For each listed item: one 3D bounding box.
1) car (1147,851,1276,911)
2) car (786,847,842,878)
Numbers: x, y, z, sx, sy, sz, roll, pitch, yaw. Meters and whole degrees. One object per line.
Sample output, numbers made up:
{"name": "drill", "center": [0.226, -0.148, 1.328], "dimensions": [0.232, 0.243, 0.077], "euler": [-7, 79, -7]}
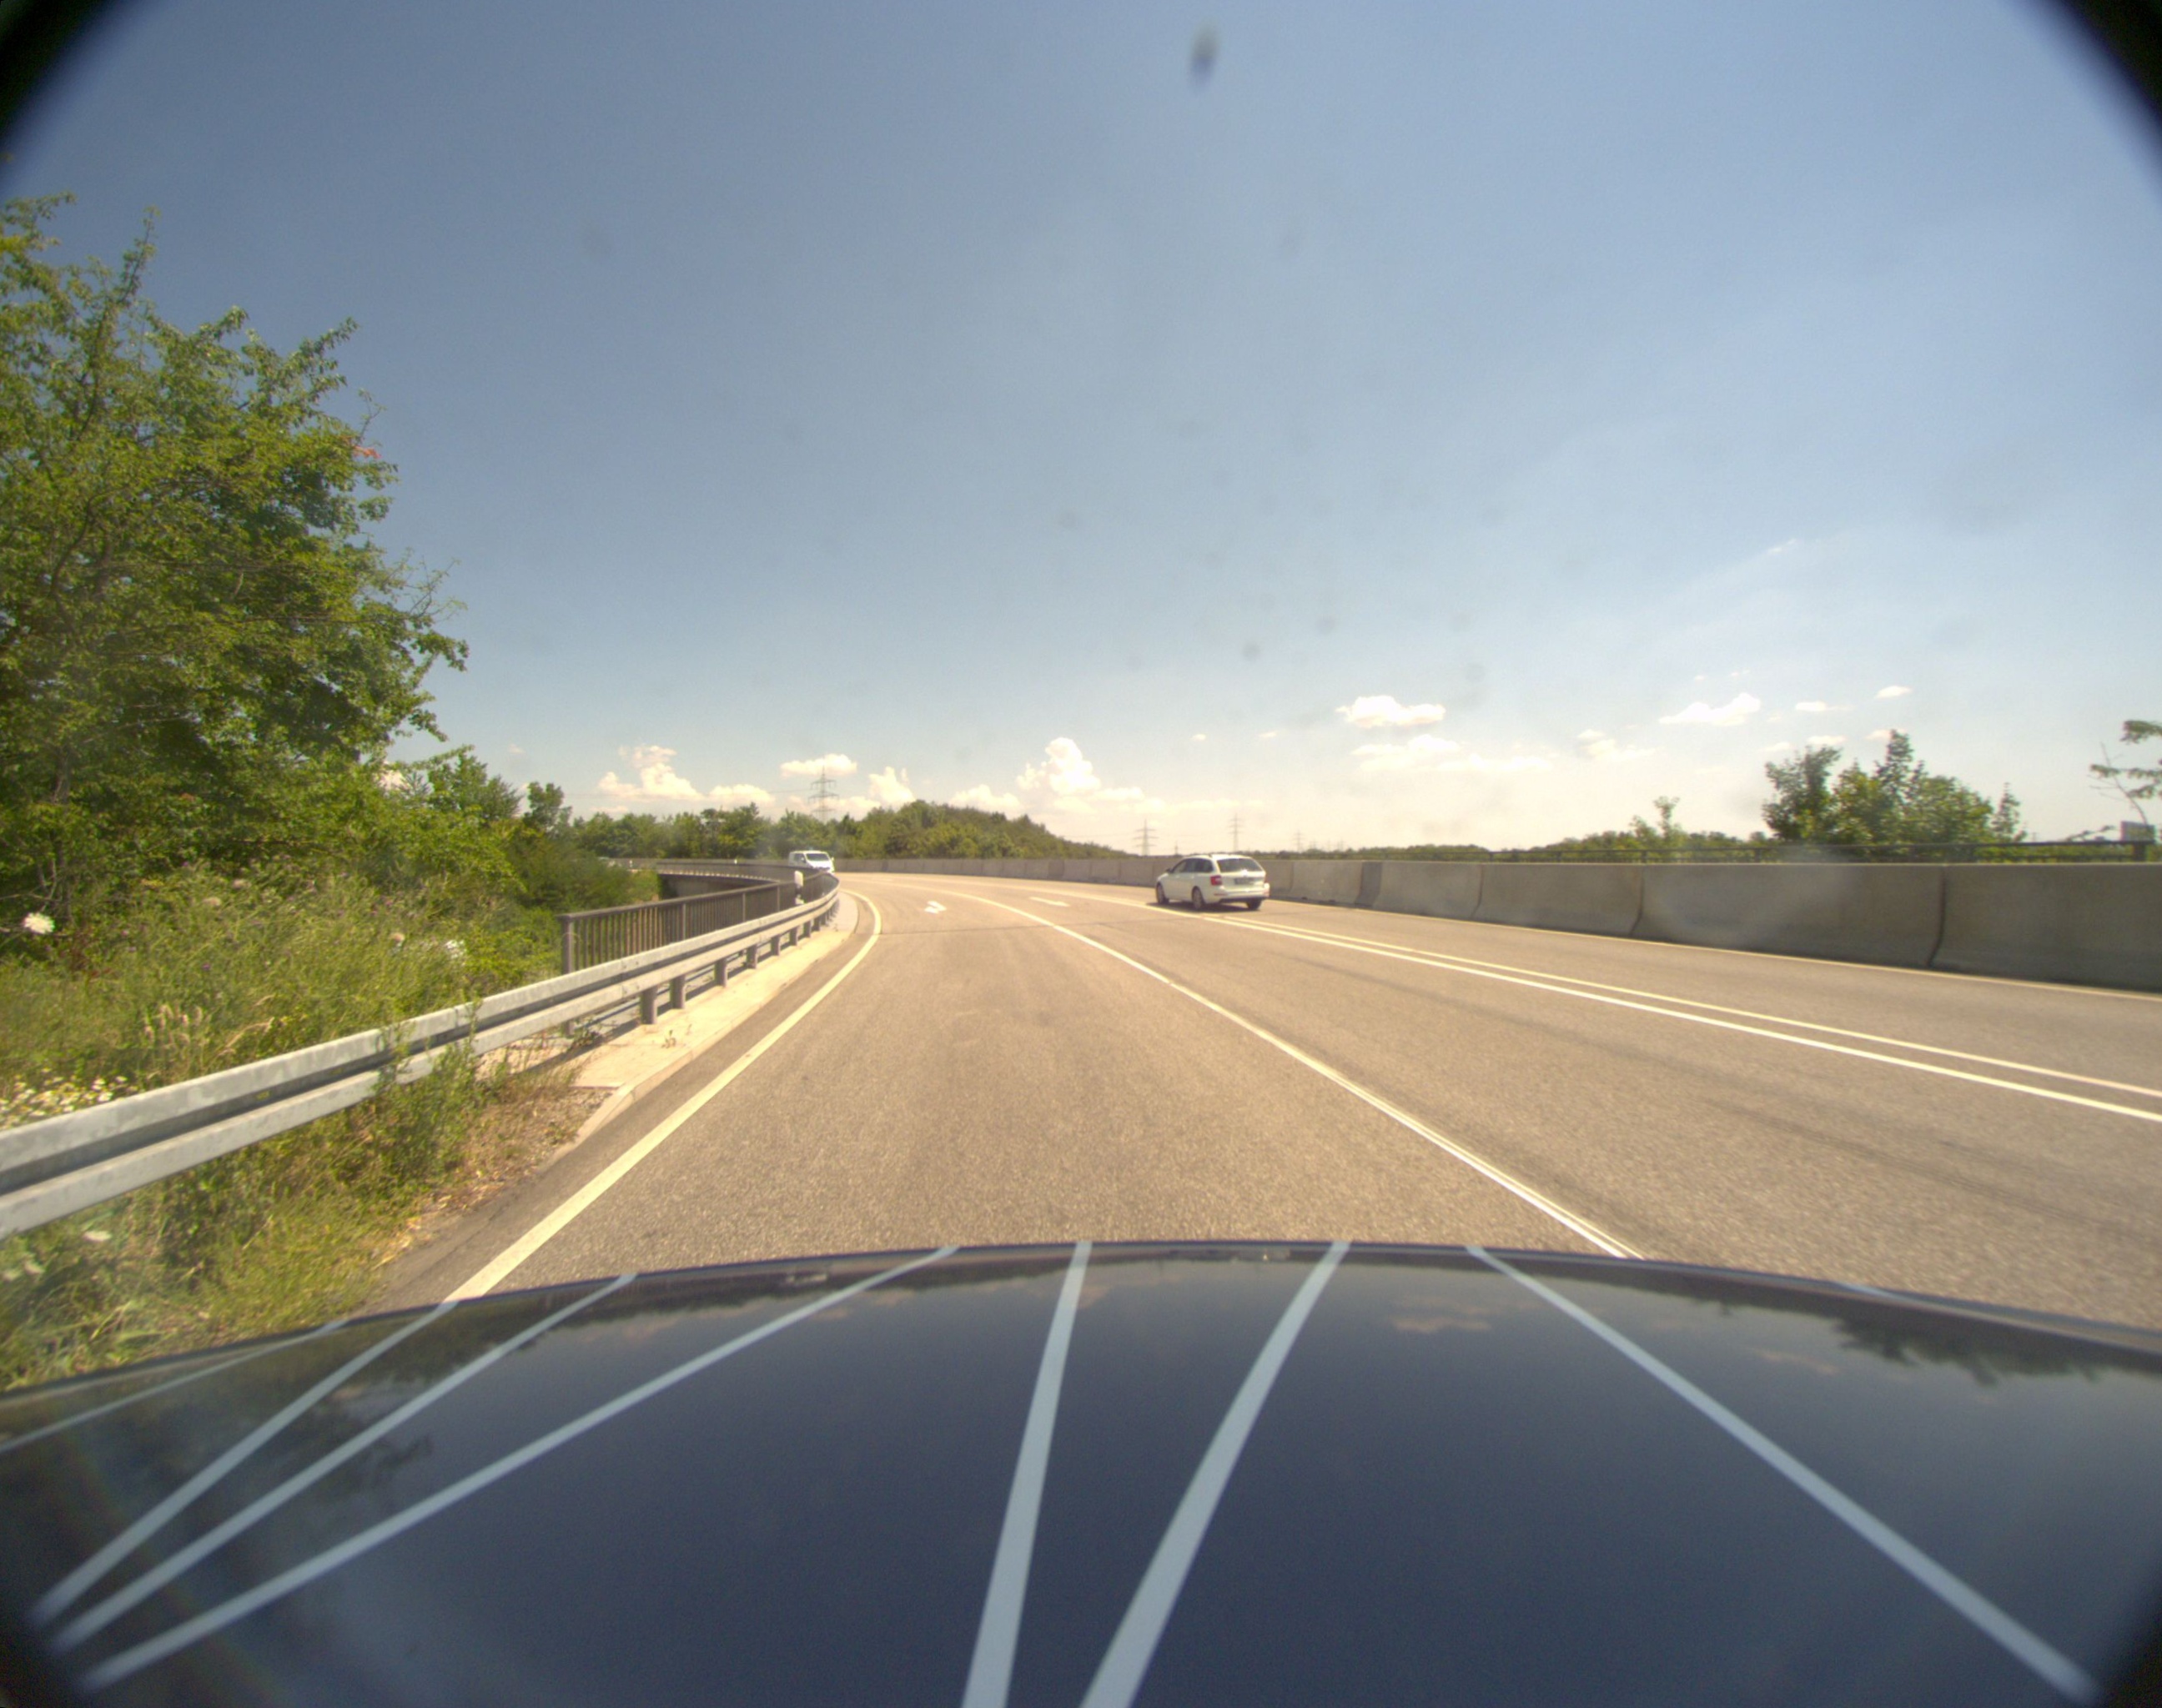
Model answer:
{"name": "car", "center": [3.467, 0.677, 21.135], "dimensions": [1.794, 1.486, 4.545], "euler": [-1, 0, -15]}
{"name": "car", "center": [-19.282, 0.601, 54.628], "dimensions": [2.036, 2.072, 5.856], "euler": [-1, 0, -38]}
